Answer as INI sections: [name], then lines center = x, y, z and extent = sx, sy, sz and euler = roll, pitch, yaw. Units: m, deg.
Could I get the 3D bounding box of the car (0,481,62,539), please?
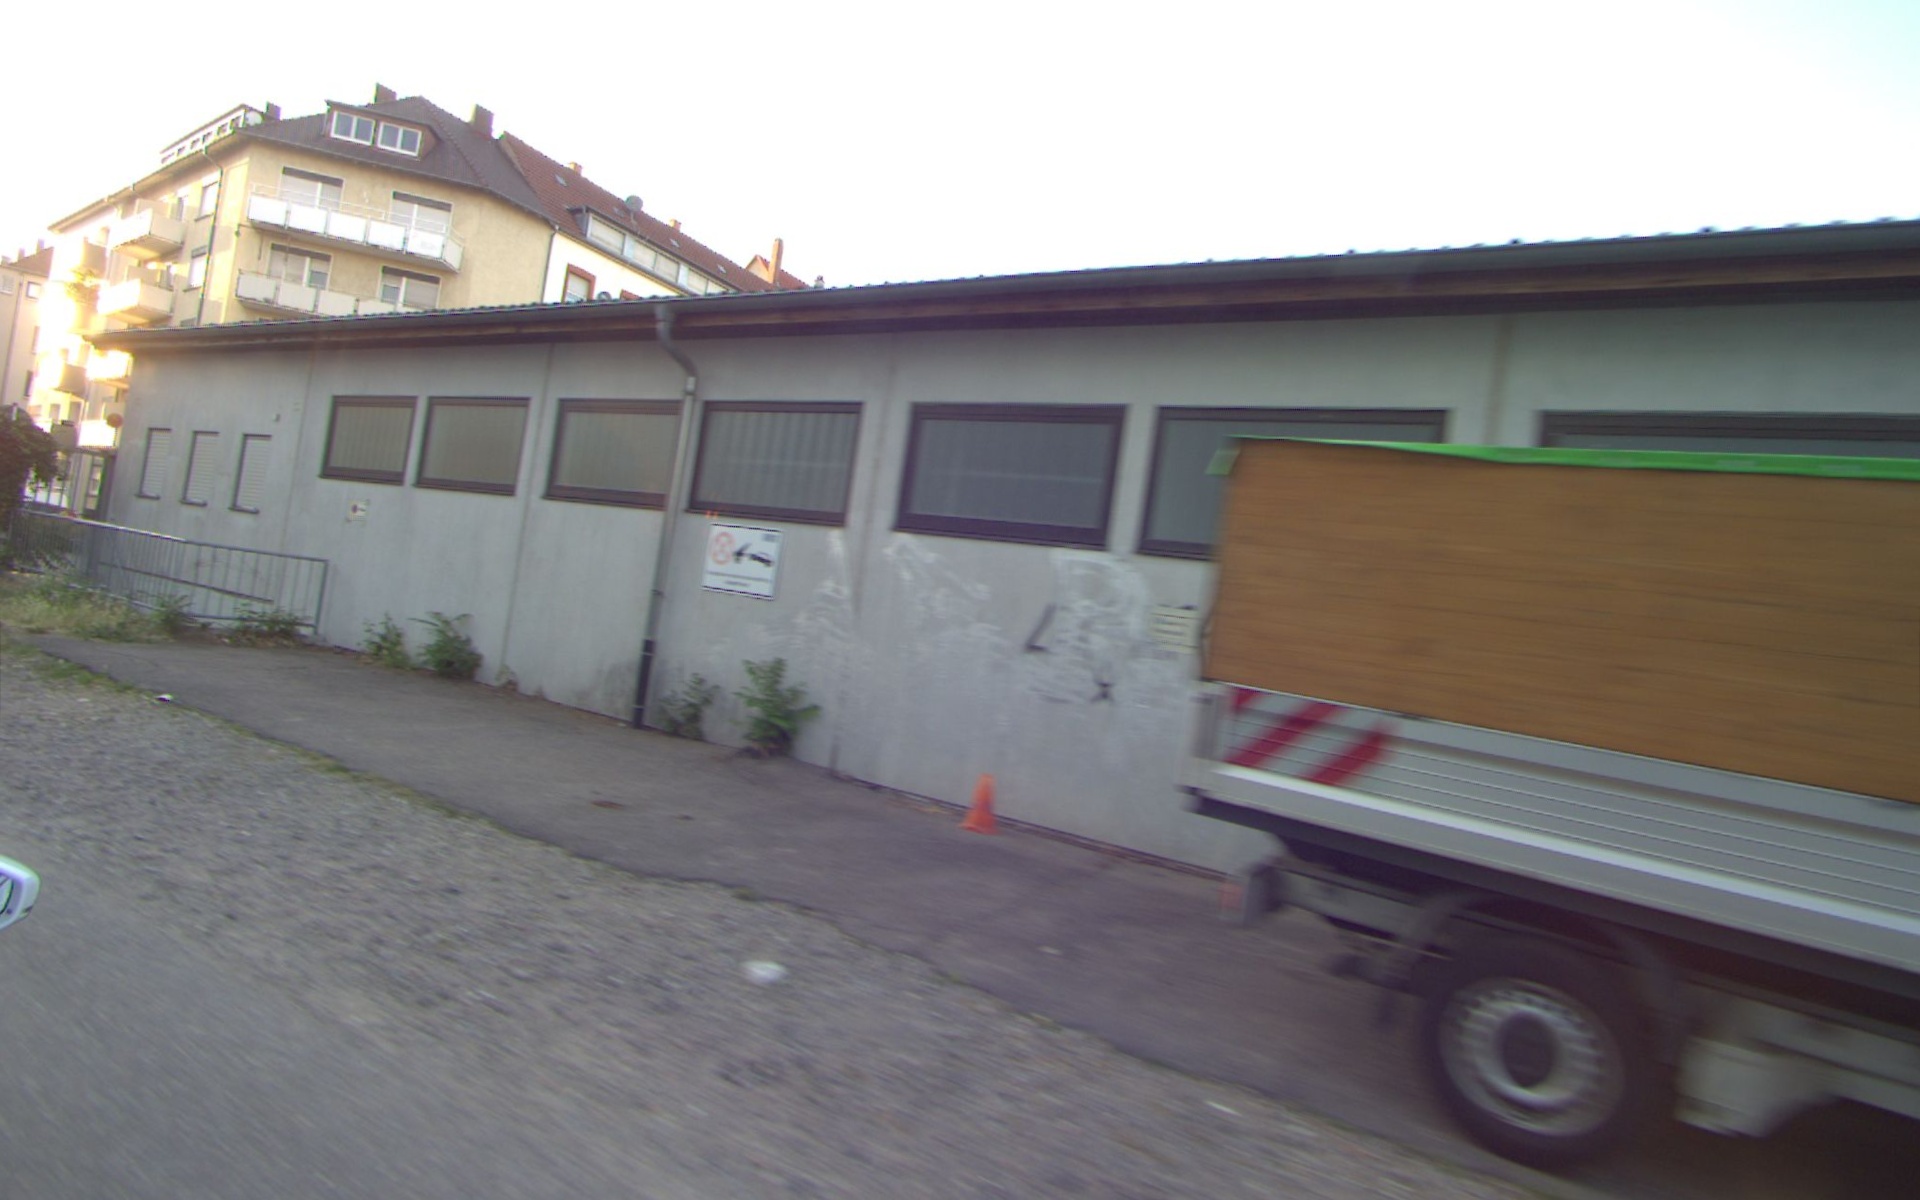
[car]
center = -36.471, -3.595, 37.356
extent = 1.715, 1.881, 4.284
euler = 6, -3, 37

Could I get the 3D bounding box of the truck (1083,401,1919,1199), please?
[truck]
center = 3.489, 0.834, 2.985
extent = 5.618, 2.226, 2.101
euler = 9, -1, 34
